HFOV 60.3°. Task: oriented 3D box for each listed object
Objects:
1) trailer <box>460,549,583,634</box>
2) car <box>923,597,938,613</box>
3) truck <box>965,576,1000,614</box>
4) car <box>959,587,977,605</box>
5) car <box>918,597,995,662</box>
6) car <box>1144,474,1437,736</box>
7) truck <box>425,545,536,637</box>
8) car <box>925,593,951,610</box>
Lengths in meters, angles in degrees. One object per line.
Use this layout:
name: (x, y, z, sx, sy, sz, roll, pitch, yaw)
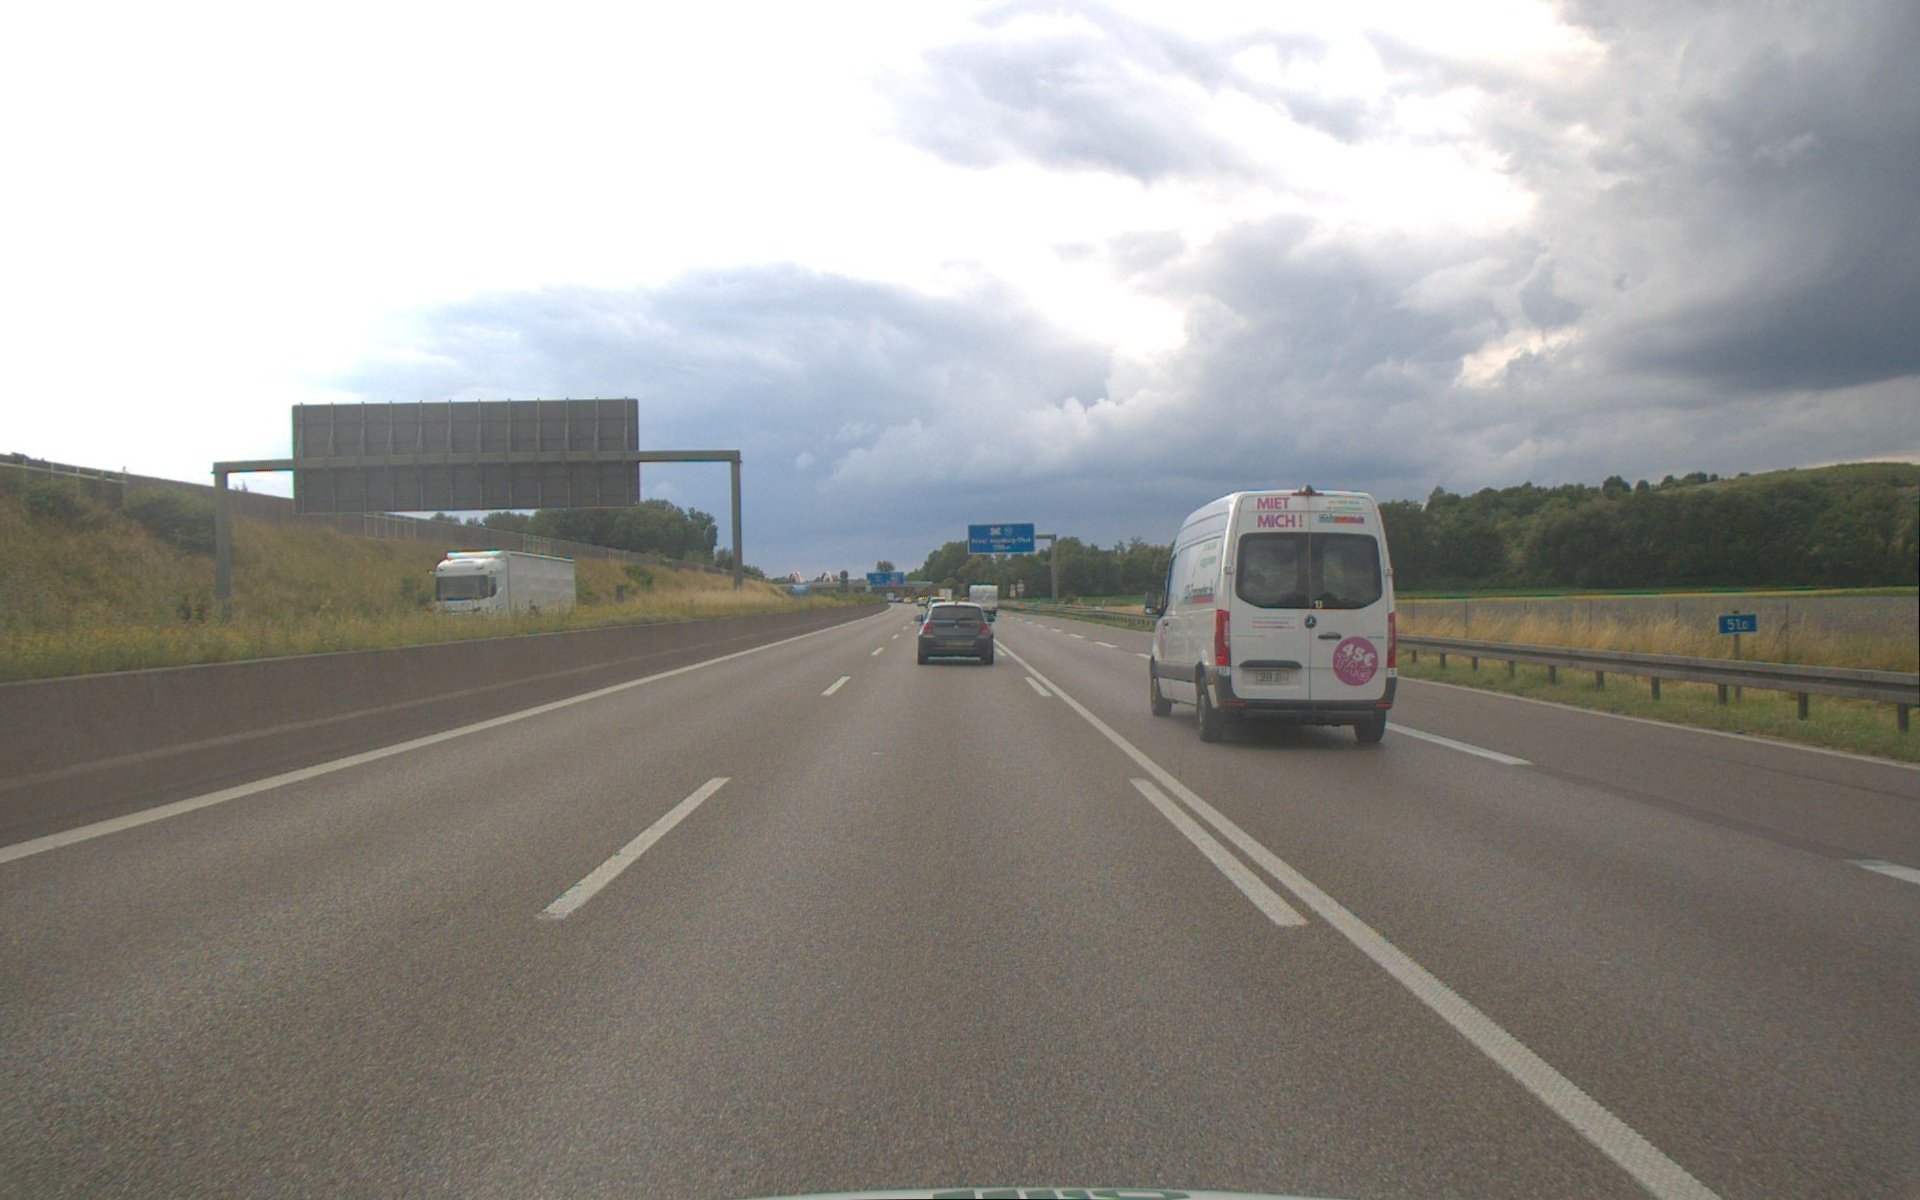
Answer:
trailer: (-21.076, -0.430, 80.377, 2.720, 3.741, 12.262, -1, 0, -1)
car: (-3.998, 0.642, 223.916, 1.953, 2.049, 3.999, -1, 0, -1)
truck: (1.877, -0.430, 142.720, 2.655, 3.016, 12.444, 1, 0, -1)
car: (0.945, -0.472, 191.747, 1.953, 2.049, 3.999, -1, 0, -1)
car: (-0.092, 0.647, 38.771, 1.708, 1.413, 4.000, 0, 0, -1)
car: (3.649, 0.025, 19.633, 2.176, 2.612, 6.255, 0, 0, -1)
truck: (-20.974, -0.394, 72.798, 2.671, 3.741, 7.488, -1, 0, -1)
car: (-1.758, 0.116, 130.968, 1.953, 1.321, 3.999, -1, 0, -1)
